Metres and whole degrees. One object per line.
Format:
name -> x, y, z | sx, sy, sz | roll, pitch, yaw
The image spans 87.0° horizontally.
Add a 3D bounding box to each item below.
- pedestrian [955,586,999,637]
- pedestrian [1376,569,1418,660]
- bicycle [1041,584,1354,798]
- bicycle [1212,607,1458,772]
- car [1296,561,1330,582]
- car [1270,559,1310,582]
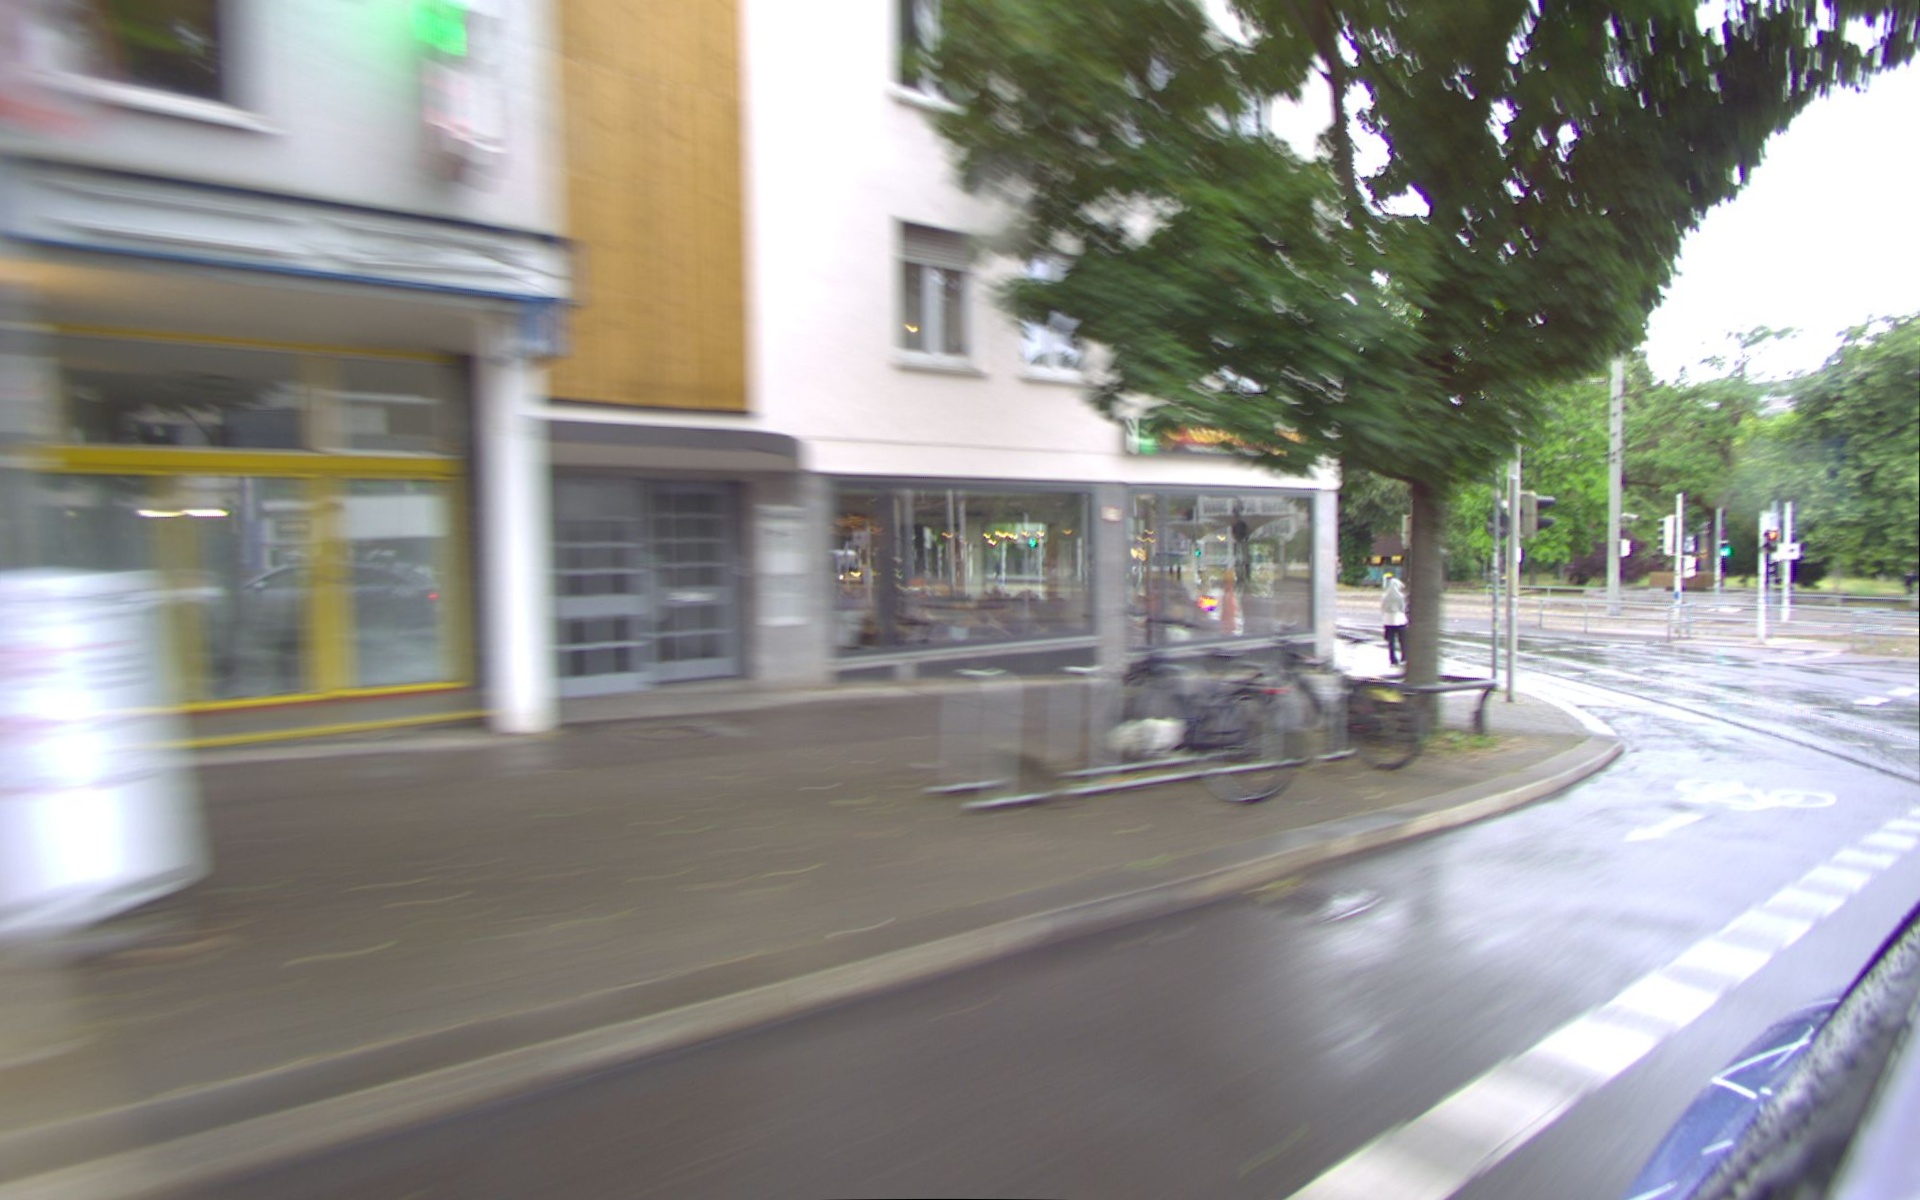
pedestrian -> 0.416, 0.279, 24.887 | 0.901, 1.206, 0.569 | 0, 2, -34
pedestrian -> 8.497, 0.266, 19.700 | 0.519, 1.733, 0.705 | 1, 2, 4
bicycle -> 1.545, 0.519, 7.118 | 0.637, 1.188, 2.325 | -1, 3, -34
bicycle -> 3.001, 0.665, 8.290 | 0.637, 1.105, 1.823 | 2, 2, -34
car -> 25.380, -2.059, 72.655 | 1.688, 1.466, 3.504 | 2, 3, 30
car -> 22.179, -1.993, 67.970 | 1.691, 1.466, 3.498 | 2, 3, 33
